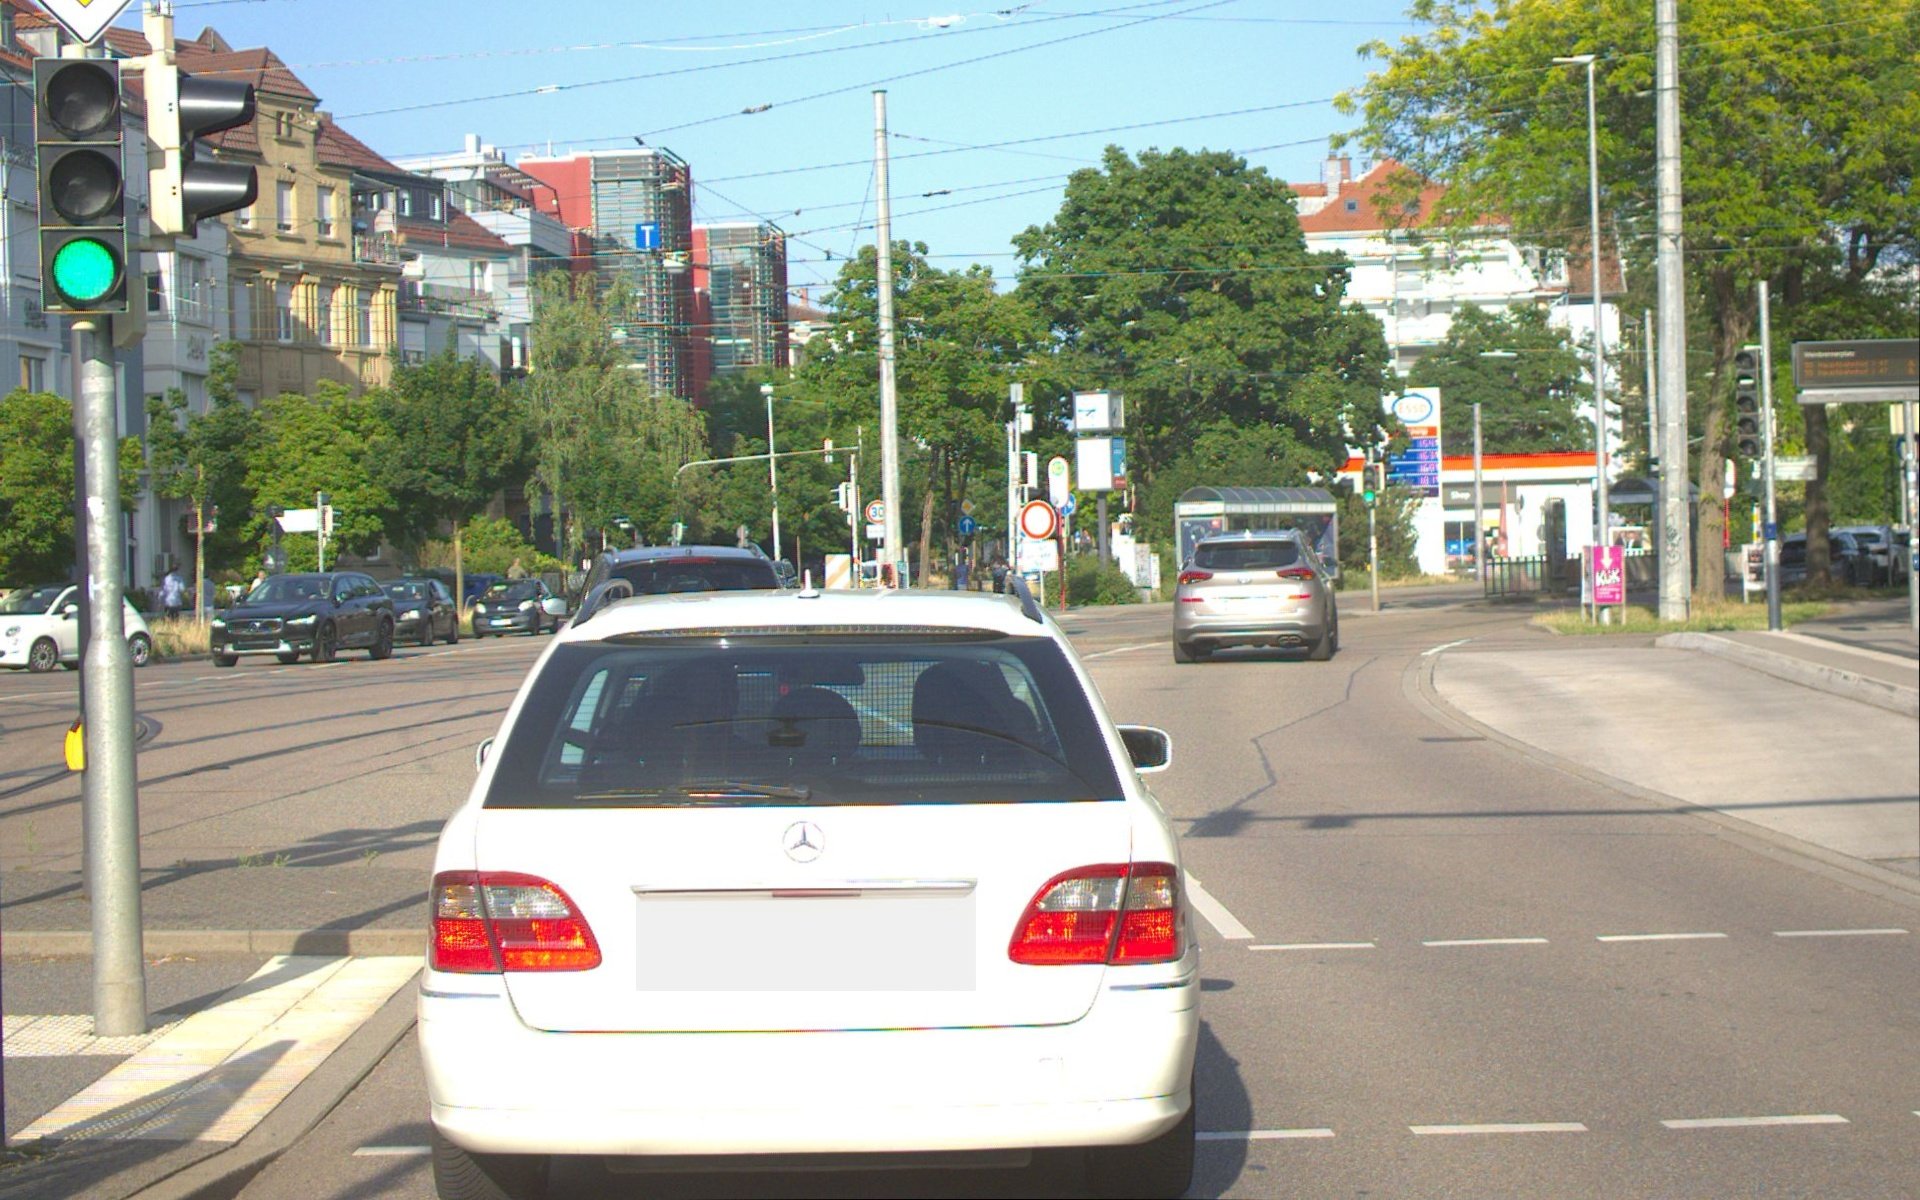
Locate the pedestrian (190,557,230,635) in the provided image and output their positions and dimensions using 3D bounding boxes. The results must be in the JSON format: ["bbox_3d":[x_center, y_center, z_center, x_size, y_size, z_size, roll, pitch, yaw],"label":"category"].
[{"bbox_3d":[-17.002,-0.100,77.930,0.638,1.745,0.911,-2,1,2],"label":"pedestrian"}]

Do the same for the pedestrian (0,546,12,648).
[{"bbox_3d":[-17.907,-0.060,63.421,0.584,1.874,0.626,-1,1,5],"label":"pedestrian"}]

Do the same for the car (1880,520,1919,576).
[{"bbox_3d":[27.091,-1.488,95.901,1.856,1.510,3.994,-3,0,28],"label":"car"}]

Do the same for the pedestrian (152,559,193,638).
[{"bbox_3d":[-17.861,-0.040,78.025,0.638,1.745,0.911,-2,1,2],"label":"pedestrian"}]

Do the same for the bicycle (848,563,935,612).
[{"bbox_3d":[-1.553,-0.291,78.195,1.914,0.991,0.727,-3,1,0],"label":"bicycle"}]

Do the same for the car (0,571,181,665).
[{"bbox_3d":[-15.259,0.296,58.222,1.797,1.452,3.994,-1,1,29],"label":"car"}]

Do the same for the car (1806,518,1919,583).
[{"bbox_3d":[22.966,-1.268,87.375,1.856,1.510,3.994,-3,0,28],"label":"car"}]

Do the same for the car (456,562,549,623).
[{"bbox_3d":[-11.414,-0.199,85.927,1.634,1.428,3.628,-1,1,3],"label":"car"}]

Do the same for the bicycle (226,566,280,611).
[{"bbox_3d":[-15.975,-0.261,77.724,0.769,0.962,2.034,-2,1,0],"label":"bicycle"}]

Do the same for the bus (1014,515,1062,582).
[{"bbox_3d":[3.024,-1.987,133.856,1.798,2.546,4.000,1,0,1],"label":"bus"}]

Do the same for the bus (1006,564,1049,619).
[{"bbox_3d":[2.916,-0.356,149.479,1.797,2.325,4.000,1,0,0],"label":"bus"}]

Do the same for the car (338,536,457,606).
[{"bbox_3d":[-12.028,-0.636,73.744,1.767,1.428,4.000,-1,1,2],"label":"car"}]

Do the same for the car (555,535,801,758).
[{"bbox_3d":[-2.115,0.315,26.628,1.641,1.595,3.815,0,1,-1],"label":"car"}]

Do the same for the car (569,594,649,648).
[{"bbox_3d":[-10.221,0.595,100.473,1.689,1.436,4.000,-2,1,3],"label":"car"}]

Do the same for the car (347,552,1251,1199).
[{"bbox_3d":[-0.378,0.633,8.915,1.835,1.496,3.815,0,1,-2],"label":"car"}]

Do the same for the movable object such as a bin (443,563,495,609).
[{"bbox_3d":[-15.632,-0.440,109.509,1.602,1.416,1.085,-2,1,-7],"label":"movable object such as a bin"}]

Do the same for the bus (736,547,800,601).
[{"bbox_3d":[-6.105,-0.837,109.753,1.844,1.630,4.159,-1,1,-1],"label":"bus"}]

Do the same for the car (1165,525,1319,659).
[{"bbox_3d":[3.504,-0.118,43.147,1.835,1.595,3.815,0,1,4],"label":"car"}]

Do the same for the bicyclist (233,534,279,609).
[{"bbox_3d":[-15.988,-0.650,78.080,0.760,1.662,1.167,-1,1,0],"label":"bicyclist"}]

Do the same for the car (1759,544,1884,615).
[{"bbox_3d":[20.482,-0.500,81.650,1.856,1.510,3.994,-3,0,29],"label":"car"}]

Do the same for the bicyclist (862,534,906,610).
[{"bbox_3d":[-1.720,-0.641,78.189,0.899,1.693,0.732,-3,1,0],"label":"bicyclist"}]

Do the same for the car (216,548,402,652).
[{"bbox_3d":[-10.701,-0.040,56.817,1.767,1.489,4.744,-1,2,5],"label":"car"}]
